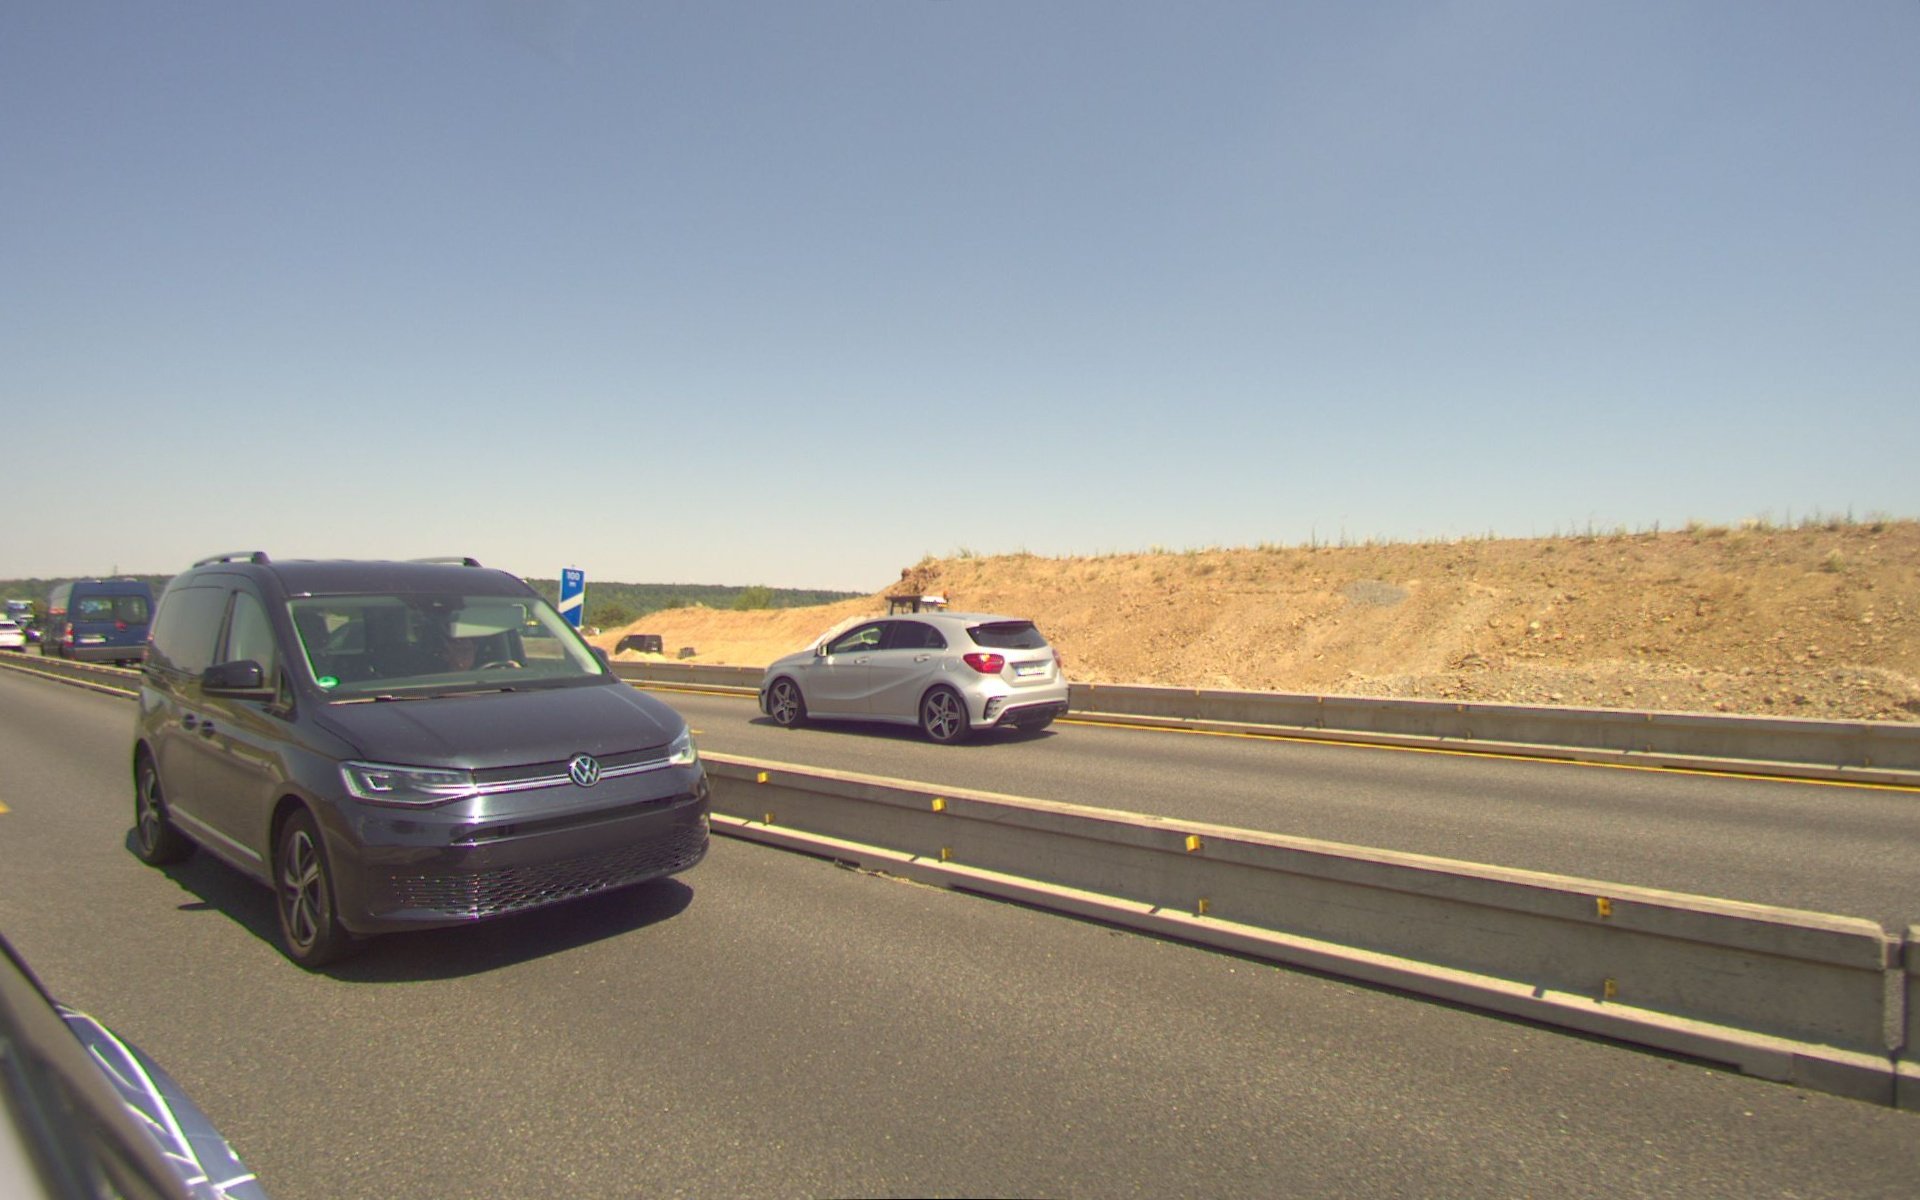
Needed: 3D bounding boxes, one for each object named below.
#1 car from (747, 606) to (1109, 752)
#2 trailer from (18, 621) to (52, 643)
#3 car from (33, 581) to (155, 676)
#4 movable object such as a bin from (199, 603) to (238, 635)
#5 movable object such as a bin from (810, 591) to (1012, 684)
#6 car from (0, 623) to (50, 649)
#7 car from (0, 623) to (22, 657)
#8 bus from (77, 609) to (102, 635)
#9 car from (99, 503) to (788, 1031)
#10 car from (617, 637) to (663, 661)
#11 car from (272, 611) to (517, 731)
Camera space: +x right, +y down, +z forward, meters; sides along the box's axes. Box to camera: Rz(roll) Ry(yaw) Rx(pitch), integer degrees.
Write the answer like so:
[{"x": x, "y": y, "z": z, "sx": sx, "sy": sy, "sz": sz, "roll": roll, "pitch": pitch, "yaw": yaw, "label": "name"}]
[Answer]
[{"x": -0.542, "y": 0.837, "z": 12.264, "sx": 4.446, "sy": 1.444, "sz": 1.673, "roll": -1, "pitch": -1, "yaw": 41, "label": "car"}, {"x": -84.824, "y": 2.954, "z": 92.786, "sx": 2.105, "sy": 1.997, "sz": 5.239, "roll": 3, "pitch": -3, "yaw": -44, "label": "trailer"}, {"x": -24.926, "y": 0.817, "z": 29.060, "sx": 5.355, "sy": 2.487, "sz": 1.935, "roll": -1, "pitch": -2, "yaw": 41, "label": "car"}, {"x": -104.871, "y": 2.768, "z": 143.223, "sx": 2.882, "sy": 4.362, "sz": 9.356, "roll": 0, "pitch": -1, "yaw": -26, "label": "movable object such as a bin"}, {"x": -1.620, "y": 1.083, "z": 30.093, "sx": 6.741, "sy": 2.480, "sz": 1.684, "roll": -1, "pitch": -2, "yaw": 41, "label": "movable object such as a bin"}, {"x": -55.646, "y": 2.112, "z": 60.180, "sx": 4.390, "sy": 1.490, "sz": 1.707, "roll": -1, "pitch": -2, "yaw": 41, "label": "car"}, {"x": -42.955, "y": 1.767, "z": 44.723, "sx": 4.668, "sy": 1.453, "sz": 1.661, "roll": -1, "pitch": -2, "yaw": 40, "label": "car"}, {"x": -110.257, "y": 2.795, "z": 128.181, "sx": 2.320, "sy": 3.149, "sz": 7.238, "roll": 1, "pitch": -2, "yaw": -41, "label": "bus"}, {"x": -3.189, "y": 0.601, "z": 5.706, "sx": 4.601, "sy": 1.803, "sz": 1.901, "roll": -1, "pitch": -1, "yaw": 41, "label": "car"}, {"x": -27.661, "y": 4.214, "z": 87.440, "sx": 3.998, "sy": 2.029, "sz": 1.973, "roll": -1, "pitch": -2, "yaw": 41, "label": "car"}, {"x": -8.477, "y": 0.942, "z": 14.981, "sx": 4.522, "sy": 1.487, "sz": 1.768, "roll": -1, "pitch": -1, "yaw": 41, "label": "car"}]
